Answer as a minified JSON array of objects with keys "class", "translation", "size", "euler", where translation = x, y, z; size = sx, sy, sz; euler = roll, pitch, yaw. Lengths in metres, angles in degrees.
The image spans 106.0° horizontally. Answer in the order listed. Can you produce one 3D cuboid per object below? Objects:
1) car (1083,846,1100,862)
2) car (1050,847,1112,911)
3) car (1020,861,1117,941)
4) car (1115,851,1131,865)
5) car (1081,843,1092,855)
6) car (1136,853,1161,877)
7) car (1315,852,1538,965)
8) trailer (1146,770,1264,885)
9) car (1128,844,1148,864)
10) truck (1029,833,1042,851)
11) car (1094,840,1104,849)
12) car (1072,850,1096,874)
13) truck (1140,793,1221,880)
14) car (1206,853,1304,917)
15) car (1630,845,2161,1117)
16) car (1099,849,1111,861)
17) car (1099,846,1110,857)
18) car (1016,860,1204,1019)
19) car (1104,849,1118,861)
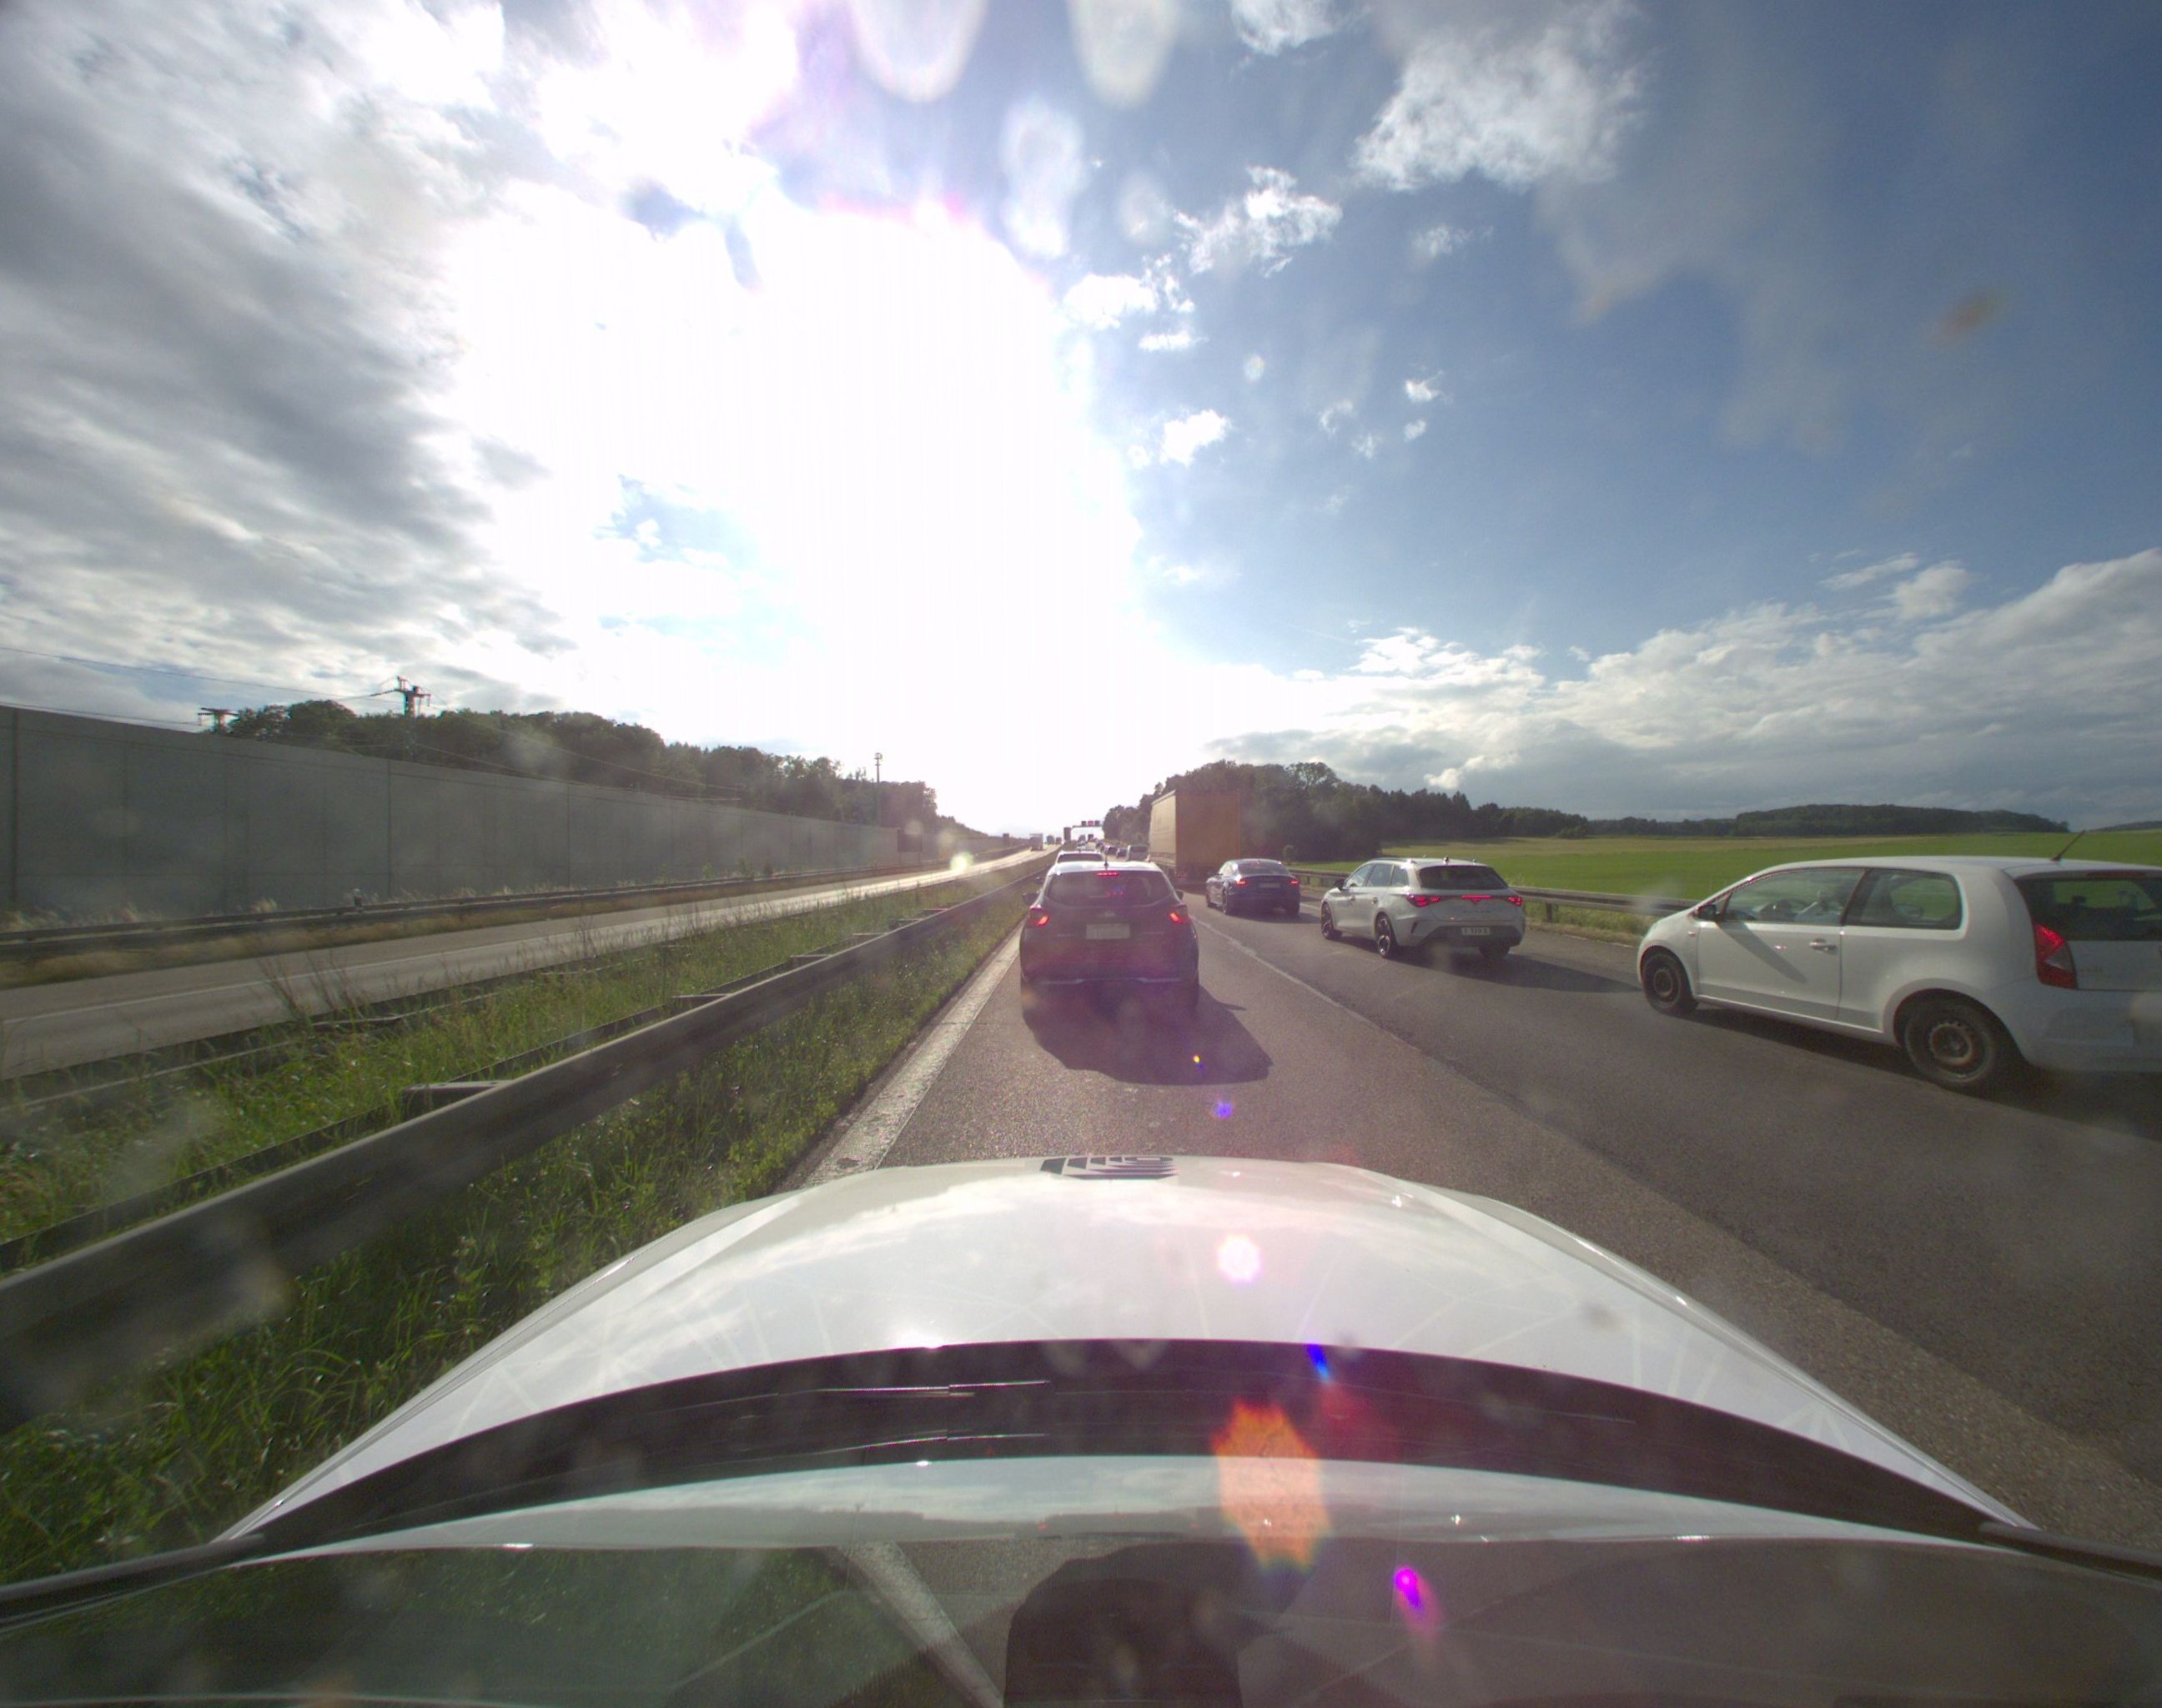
[{"class":"car","translation":[1.308,0.026,103.522],"size":[1.987,2.014,3.998],"euler":[0,-1,-1]},{"class":"car","translation":[0.032,0.695,23.892],"size":[1.668,1.726,3.597],"euler":[-1,-1,1]},{"class":"car","translation":[-0.170,0.836,15.910],"size":[1.668,1.367,3.597],"euler":[-1,-1,1]},{"class":"car","translation":[6.001,0.541,115.773],"size":[1.987,2.014,3.998],"euler":[0,-1,-1]},{"class":"car","translation":[0.991,-0.917,147.262],"size":[1.987,2.014,3.998],"euler":[0,-1,-1]},{"class":"car","translation":[5.042,0.833,61.206],"size":[1.661,1.755,3.328],"euler":[0,-1,2]},{"class":"car","translation":[5.085,0.730,12.644],"size":[1.616,1.445,4.144],"euler":[-1,-1,-1]},{"class":"trailer","translation":[5.343,-0.980,38.168],"size":[3.538,4.457,12.718],"euler":[0,-1,0]},{"class":"car","translation":[5.206,0.027,74.936],"size":[1.661,1.755,3.328],"euler":[0,-1,2]},{"class":"truck","translation":[-10.585,-2.728,190.915],"size":[2.629,4.098,7.000],"euler":[0,-1,0]},{"class":"car","translation":[4.166,-2.242,188.628],"size":[1.987,2.014,3.998],"euler":[0,-1,-1]},{"class":"car","translation":[0.233,0.731,71.361],"size":[1.987,2.014,3.998],"euler":[0,-1,-1]},{"class":"truck","translation":[5.287,-0.861,44.662],"size":[3.571,4.380,6.686],"euler":[0,-1,-1]},{"class":"car","translation":[4.409,0.744,21.215],"size":[1.741,1.475,4.147],"euler":[-1,-1,1]},{"class":"car","translation":[6.117,0.688,6.211],"size":[1.544,1.495,3.376],"euler":[0,0,-1]},{"class":"car","translation":[4.198,0.147,143.682],"size":[1.987,2.014,3.998],"euler":[0,-1,-1]},{"class":"car","translation":[4.480,-0.511,158.093],"size":[1.987,2.014,3.998],"euler":[0,-1,-1]},{"class":"car","translation":[0.316,0.795,9.103],"size":[1.703,1.426,3.379],"euler":[-1,-1,2]},{"class":"car","translation":[4.945,0.217,134.142],"size":[1.987,2.014,3.998],"euler":[0,-1,-1]}]
